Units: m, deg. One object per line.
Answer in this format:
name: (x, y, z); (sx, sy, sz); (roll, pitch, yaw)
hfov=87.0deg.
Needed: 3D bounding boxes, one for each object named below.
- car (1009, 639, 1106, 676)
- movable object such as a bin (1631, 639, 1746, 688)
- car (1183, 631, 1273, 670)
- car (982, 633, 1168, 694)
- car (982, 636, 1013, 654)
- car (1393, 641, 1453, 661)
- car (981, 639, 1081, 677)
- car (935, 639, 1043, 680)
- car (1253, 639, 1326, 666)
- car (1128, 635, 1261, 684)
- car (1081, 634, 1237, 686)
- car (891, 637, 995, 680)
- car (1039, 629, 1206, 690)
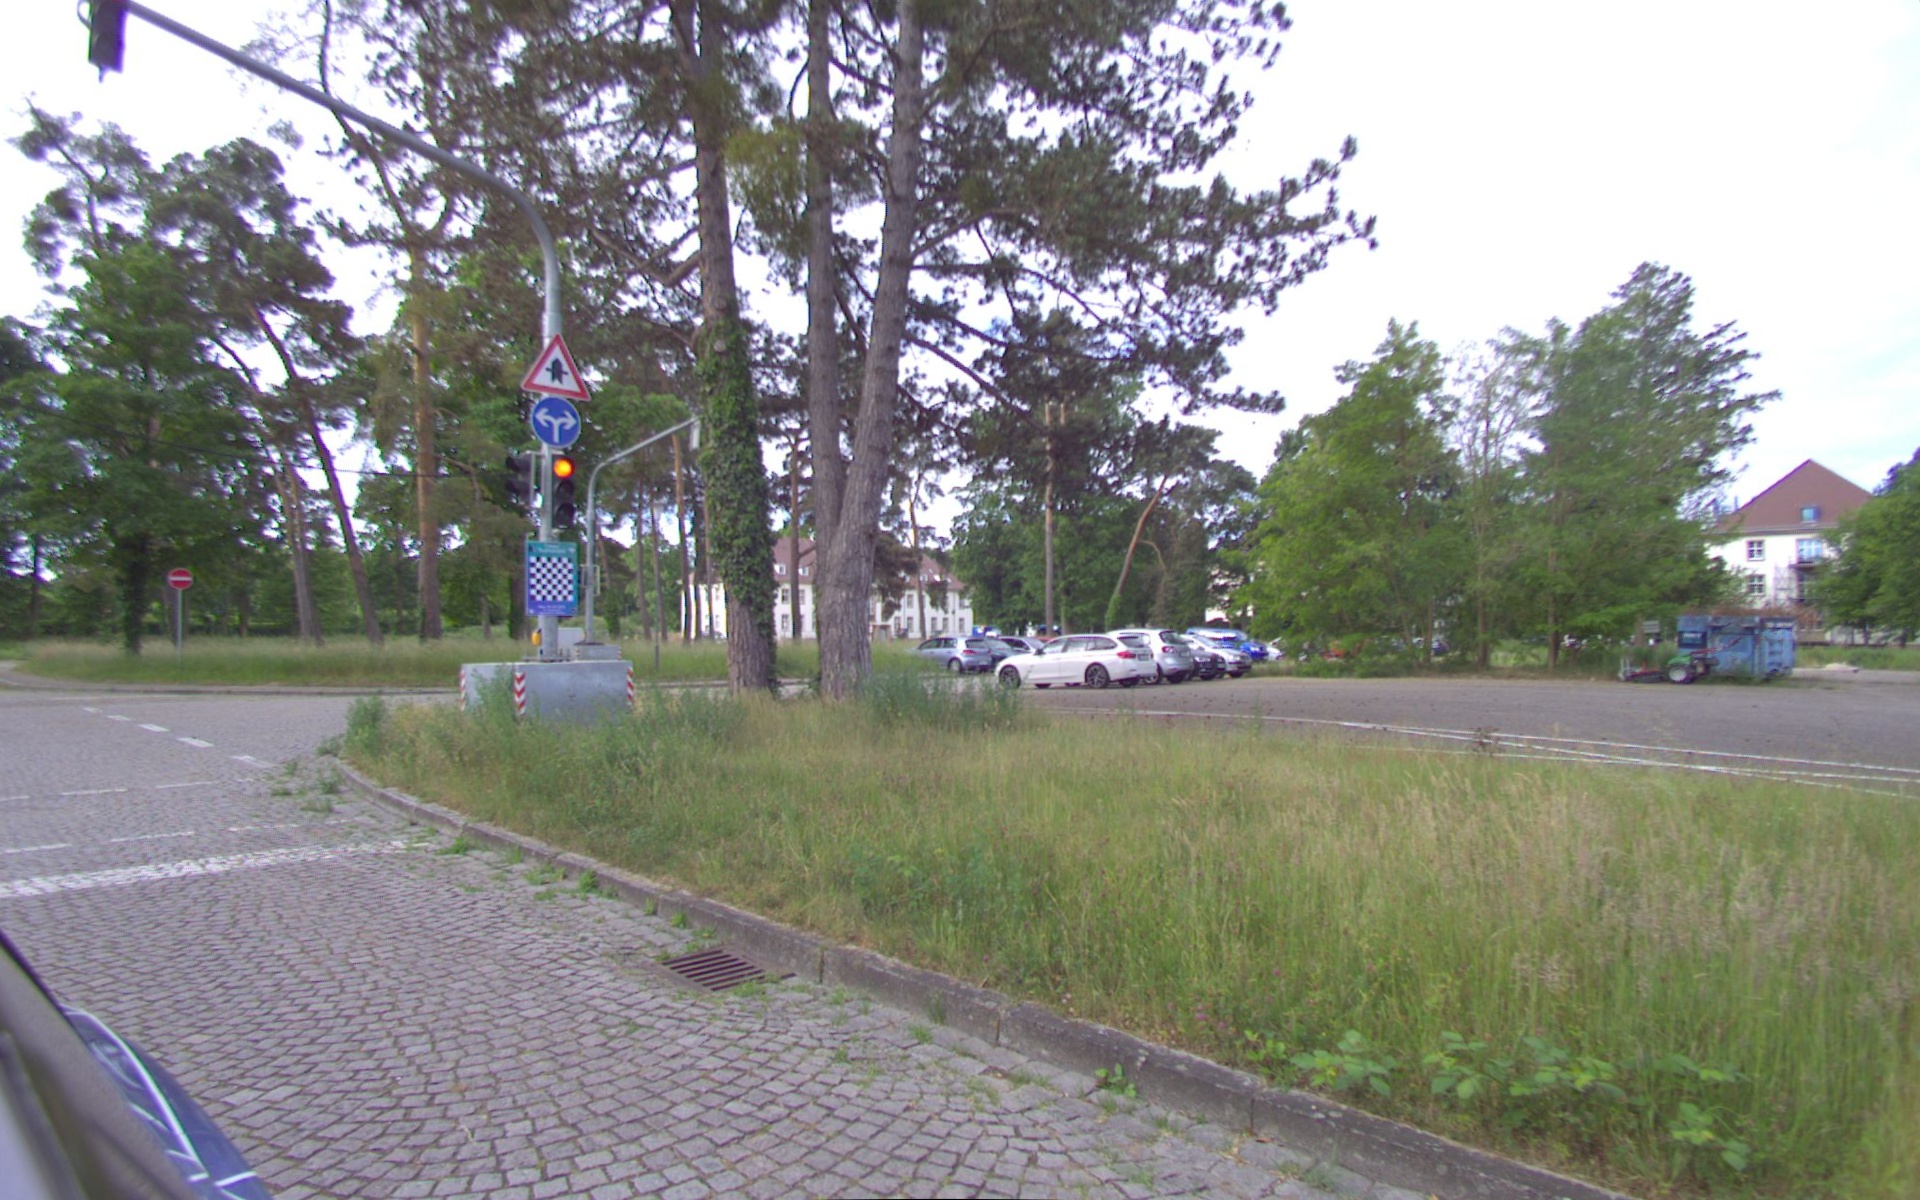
car: (4.369, 2.566, 45.769); (4.187, 1.493, 1.693); (-1, -2, 43)
movable object such as a bin: (18.218, 1.563, 25.356); (2.268, 1.134, 0.847); (-1, -2, 41)
car: (15.140, 2.813, 57.318); (4.608, 2.021, 1.884); (-1, -2, 45)
car: (3.004, 1.735, 27.220); (4.751, 1.499, 1.841); (-4, -5, 40)
car: (5.300, 6.350, 142.211); (1.863, 2.382, 4.385); (-4, -4, 42)
car: (37.676, 4.154, 82.442); (1.699, 1.545, 4.104); (2, -2, -40)
car: (3.036, 2.466, 43.676); (1.692, 1.485, 4.253); (3, -3, -45)
car: (1.151, 2.416, 41.733); (4.441, 1.394, 1.641); (1, -1, 41)
car: (20.799, 3.301, 64.022); (1.630, 1.605, 4.089); (3, -3, -45)
car: (7.701, 1.980, 33.441); (3.958, 1.482, 1.564); (-5, -5, 40)
car: (6.085, 1.885, 31.344); (4.446, 1.435, 1.699); (-5, -5, 41)
car: (-0.700, 2.280, 39.921); (4.012, 1.439, 1.674); (1, -1, 41)
car: (4.632, 1.735, 29.145); (4.369, 1.610, 1.849); (-4, -4, 37)
